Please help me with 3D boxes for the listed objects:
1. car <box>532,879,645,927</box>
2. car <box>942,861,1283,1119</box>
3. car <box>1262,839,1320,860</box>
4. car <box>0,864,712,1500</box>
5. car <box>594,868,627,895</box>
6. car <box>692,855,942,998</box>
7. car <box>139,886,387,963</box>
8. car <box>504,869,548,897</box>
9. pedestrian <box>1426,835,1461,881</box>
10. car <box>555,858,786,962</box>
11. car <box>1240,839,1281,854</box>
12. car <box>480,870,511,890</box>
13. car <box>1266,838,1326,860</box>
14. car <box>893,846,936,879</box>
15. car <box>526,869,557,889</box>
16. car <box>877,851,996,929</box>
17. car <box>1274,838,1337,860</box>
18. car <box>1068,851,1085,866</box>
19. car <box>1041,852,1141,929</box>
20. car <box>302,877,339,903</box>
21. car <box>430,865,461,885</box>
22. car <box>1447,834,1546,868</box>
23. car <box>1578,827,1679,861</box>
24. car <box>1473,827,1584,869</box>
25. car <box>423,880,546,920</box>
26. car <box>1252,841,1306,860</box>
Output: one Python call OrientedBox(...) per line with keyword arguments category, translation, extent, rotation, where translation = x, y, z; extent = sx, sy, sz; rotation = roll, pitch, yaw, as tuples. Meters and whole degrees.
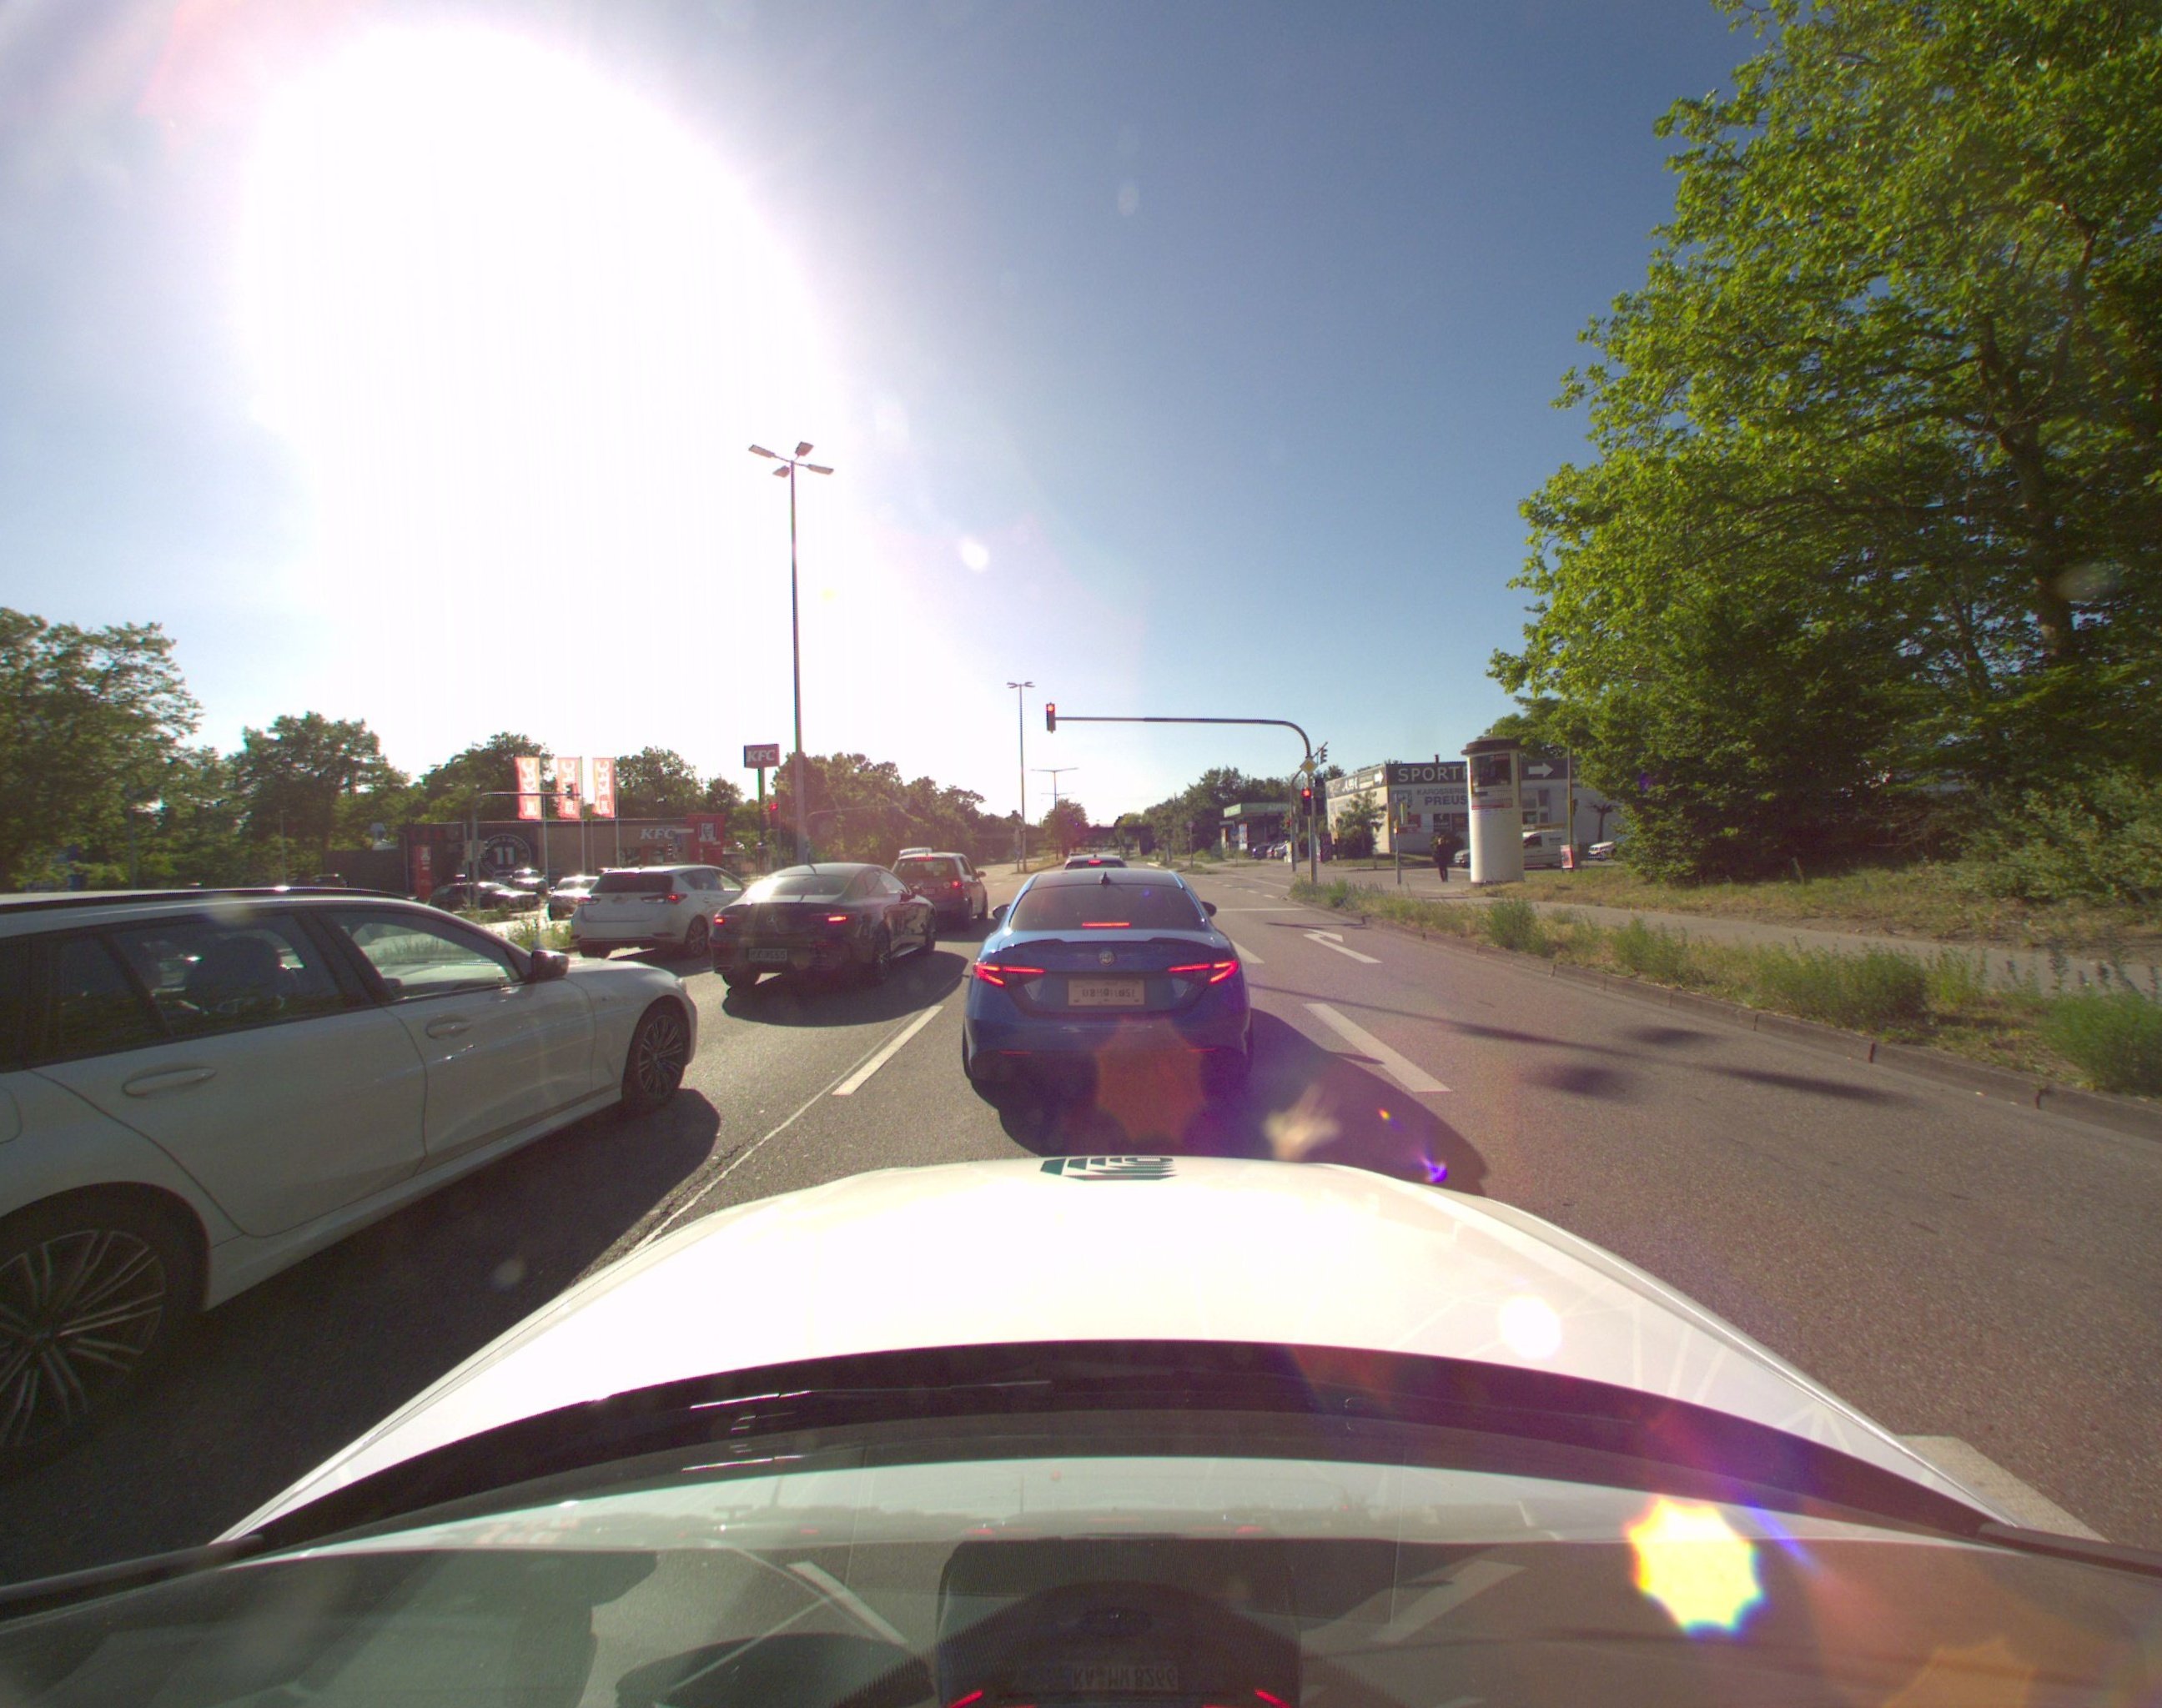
OrientedBox(category="car", translation=(-17.580, 1.696, 29.337), extent=(1.726, 1.409, 4.296), rotation=(-4, 0, -6))
OrientedBox(category="car", translation=(0.207, 0.773, 6.732), extent=(1.889, 1.418, 4.403), rotation=(0, -1, 1))
OrientedBox(category="car", translation=(17.986, -0.371, 69.869), extent=(4.470, 1.454, 1.860), rotation=(-4, 0, 3))
OrientedBox(category="car", translation=(-3.427, 0.799, 3.322), extent=(1.779, 1.490, 4.403), rotation=(0, -1, 1))
OrientedBox(category="car", translation=(-33.667, 1.936, 58.358), extent=(1.920, 1.752, 4.315), rotation=(0, -1, -29))
OrientedBox(category="car", translation=(-3.170, 0.780, 10.827), extent=(1.790, 1.490, 4.476), rotation=(0, -1, 1))
OrientedBox(category="car", translation=(-19.110, 1.578, 19.324), extent=(1.753, 1.409, 3.979), rotation=(-4, 0, 1))
OrientedBox(category="car", translation=(-37.336, 1.940, 54.878), extent=(2.005, 1.765, 4.315), rotation=(0, -1, -29))
OrientedBox(category="pedestrian", translation=(14.141, 0.157, 31.782), extent=(0.922, 1.735, 0.939), rotation=(0, -1, 1))
OrientedBox(category="car", translation=(-6.726, 0.832, 13.929), extent=(1.753, 1.490, 4.197), rotation=(0, -1, 1))
OrientedBox(category="car", translation=(21.389, -0.866, 97.032), extent=(4.532, 1.490, 1.766), rotation=(-4, 0, 3))
OrientedBox(category="car", translation=(-45.638, 2.027, 63.424), extent=(1.670, 1.471, 3.872), rotation=(0, -1, -40))
OrientedBox(category="car", translation=(17.709, -0.400, 67.120), extent=(4.470, 1.454, 1.860), rotation=(-4, 0, 3))
OrientedBox(category="car", translation=(-13.677, 0.651, 67.154), extent=(2.015, 2.447, 5.823), rotation=(-5, 0, 1))
OrientedBox(category="car", translation=(-43.146, 1.959, 65.077), extent=(1.670, 1.471, 3.872), rotation=(0, -1, -40))
OrientedBox(category="car", translation=(-3.025, 0.716, 17.930), extent=(1.753, 1.490, 4.403), rotation=(0, -1, 1))
OrientedBox(category="car", translation=(17.703, -0.414, 64.339), extent=(4.470, 1.454, 1.860), rotation=(-4, 0, 3))
OrientedBox(category="car", translation=(-0.522, 0.512, 100.356), extent=(1.884, 1.816, 4.001), rotation=(0, -1, 2))
OrientedBox(category="car", translation=(0.218, 0.696, 17.375), extent=(1.844, 1.418, 4.403), rotation=(0, -1, 1))
OrientedBox(category="car", translation=(-52.372, 2.464, 56.113), extent=(1.670, 1.673, 3.897), rotation=(0, -1, -40))
OrientedBox(category="car", translation=(-47.638, 1.566, 61.007), extent=(1.670, 1.471, 3.872), rotation=(0, -1, -40))
OrientedBox(category="car", translation=(21.767, -0.190, 42.730), extent=(4.273, 1.549, 1.765), rotation=(-3, 1, 0))
OrientedBox(category="car", translation=(28.648, -0.509, 42.681), extent=(4.028, 1.490, 1.782), rotation=(-3, 0, -1))
OrientedBox(category="car", translation=(21.534, -0.305, 39.335), extent=(4.367, 1.801, 1.765), rotation=(-3, 1, 0))
OrientedBox(category="car", translation=(-27.631, 2.104, 37.825), extent=(4.392, 1.490, 1.766), rotation=(-4, 0, 3))
OrientedBox(category="car", translation=(17.945, -0.343, 73.923), extent=(4.470, 1.454, 1.860), rotation=(-4, 0, 3))
